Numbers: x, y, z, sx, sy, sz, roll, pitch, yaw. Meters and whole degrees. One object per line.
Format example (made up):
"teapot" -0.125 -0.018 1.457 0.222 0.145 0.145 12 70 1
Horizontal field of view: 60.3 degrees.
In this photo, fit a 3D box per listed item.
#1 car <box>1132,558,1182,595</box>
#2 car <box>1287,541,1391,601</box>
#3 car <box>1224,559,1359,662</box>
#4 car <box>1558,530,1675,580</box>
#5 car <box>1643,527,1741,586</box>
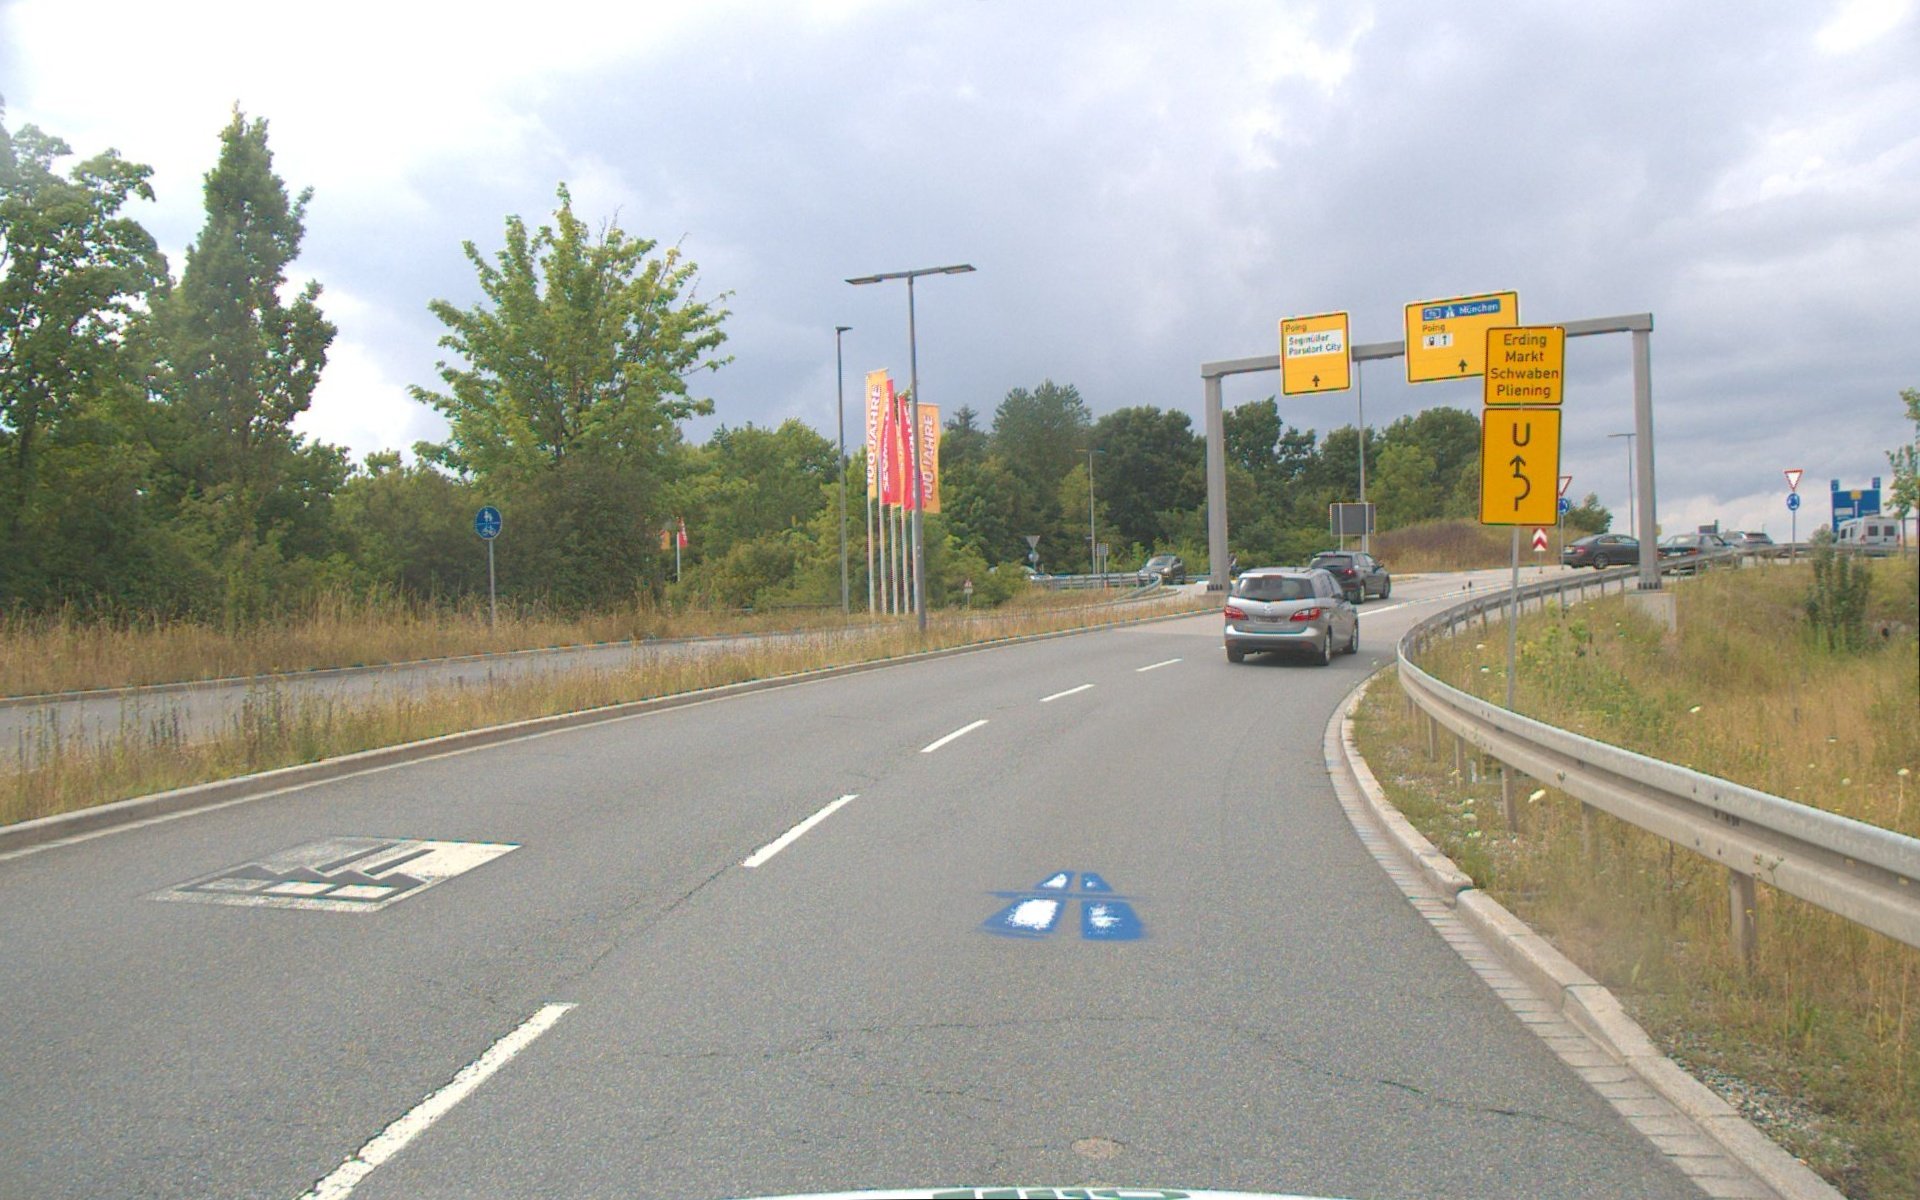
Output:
"car" 10.561 -1.281 88.545 1.815 1.693 4.166 -4 1 17
"car" 10.936 -0.849 47.595 1.835 1.633 3.727 2 2 31
"car" 5.869 0.160 28.990 1.730 1.645 3.923 -2 0 20
"car" 26.594 -1.832 67.011 4.077 1.814 1.894 -3 1 -17
"car" 25.233 -1.527 56.977 3.926 1.869 1.633 -3 1 -43
